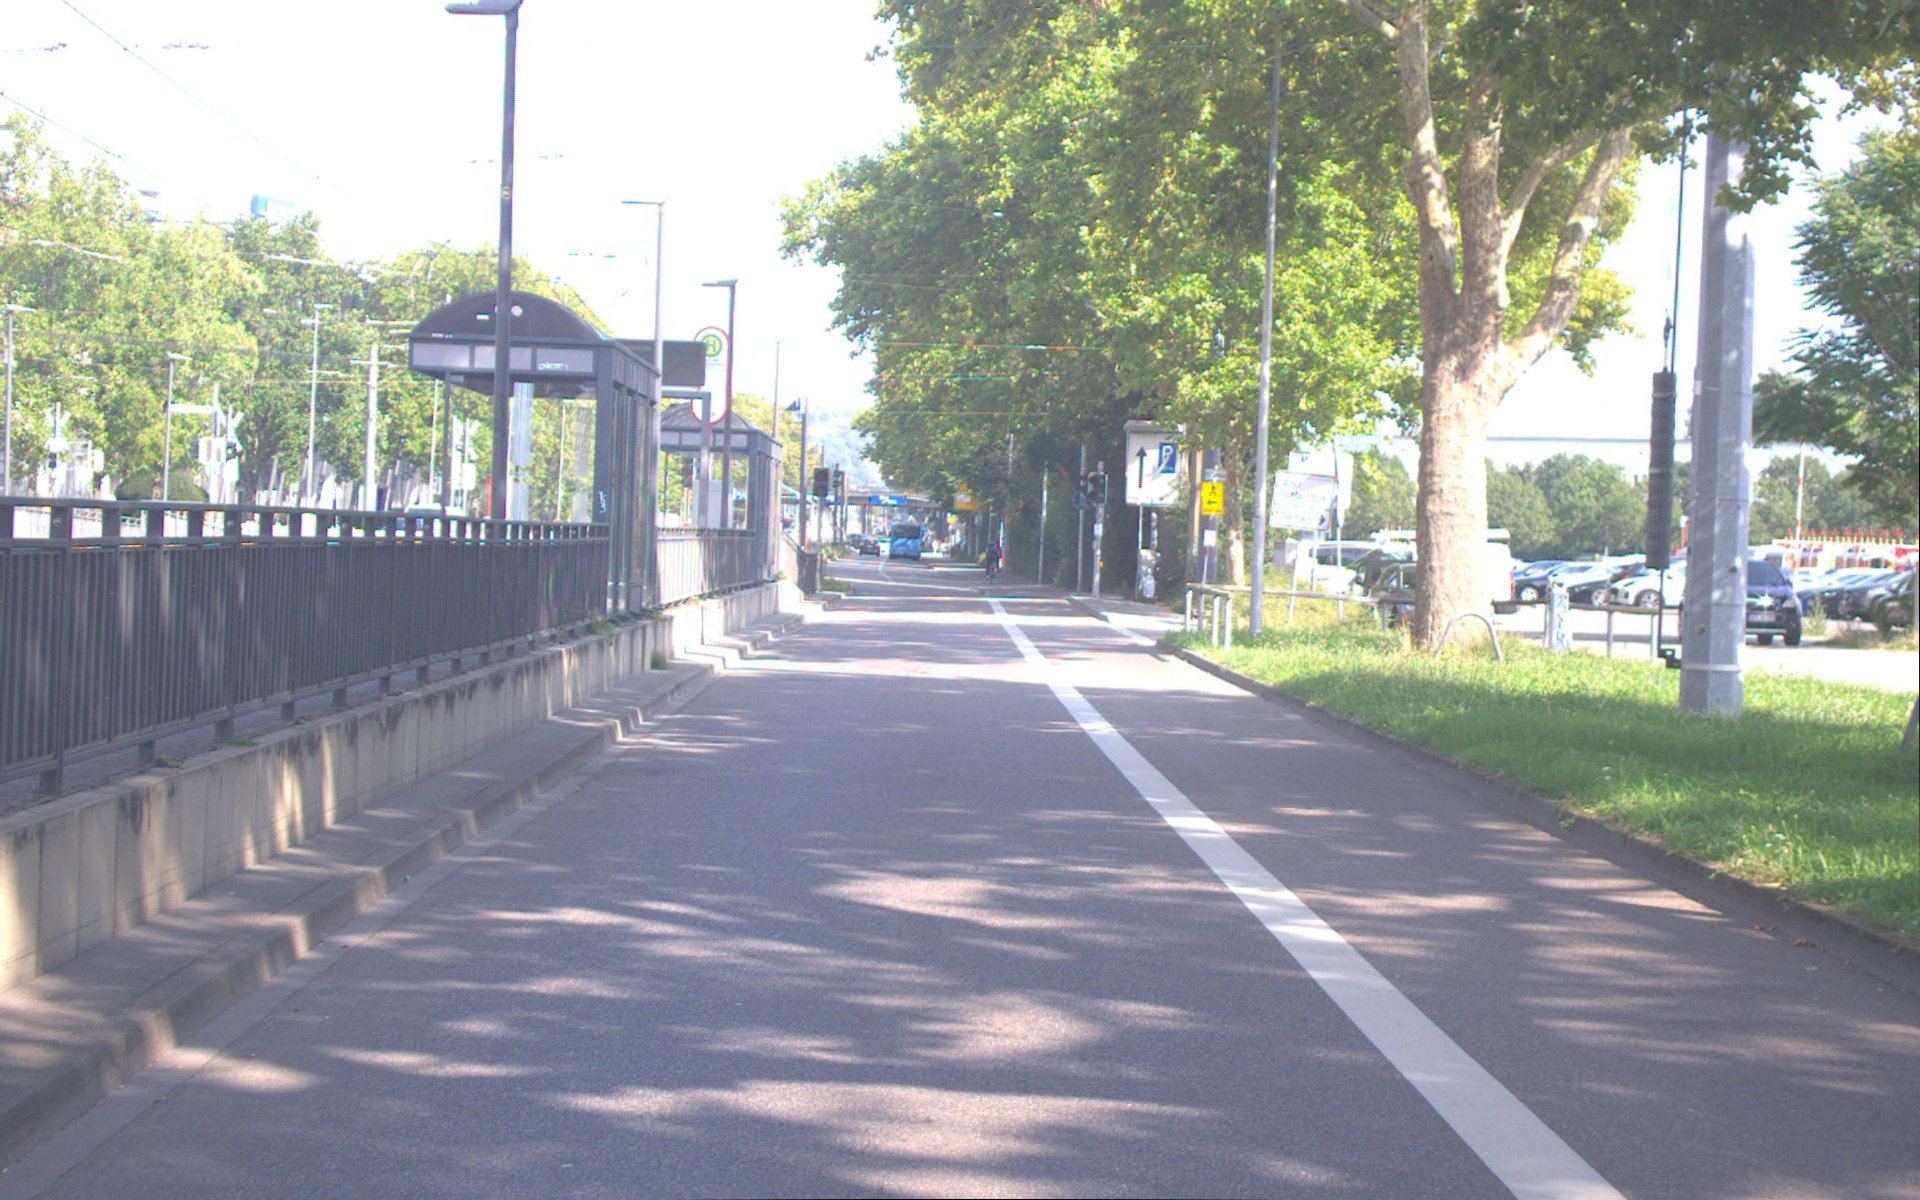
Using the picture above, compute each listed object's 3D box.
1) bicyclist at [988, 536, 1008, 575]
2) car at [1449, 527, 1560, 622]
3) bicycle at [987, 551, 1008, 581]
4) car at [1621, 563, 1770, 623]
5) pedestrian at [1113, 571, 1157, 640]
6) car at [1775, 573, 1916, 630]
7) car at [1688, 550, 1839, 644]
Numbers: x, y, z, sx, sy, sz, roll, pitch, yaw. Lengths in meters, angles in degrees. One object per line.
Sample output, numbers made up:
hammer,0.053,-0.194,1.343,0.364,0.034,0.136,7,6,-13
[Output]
bicyclist,1.476,-1.731,133.519,0.705,1.456,1.009,3,1,-1
car,12.413,-0.614,78.629,1.722,2.041,4.462,2,1,-1
bicycle,1.452,-1.330,133.509,0.715,1.104,2.509,3,1,-1
car,20.149,-0.200,94.264,3.775,1.441,1.526,3,1,6
pedestrian,4.165,0.127,81.708,0.626,1.612,0.843,3,1,37
car,26.185,0.035,101.708,3.775,1.441,1.526,3,1,6
car,15.289,-0.069,65.289,1.724,1.673,4.242,3,1,28
